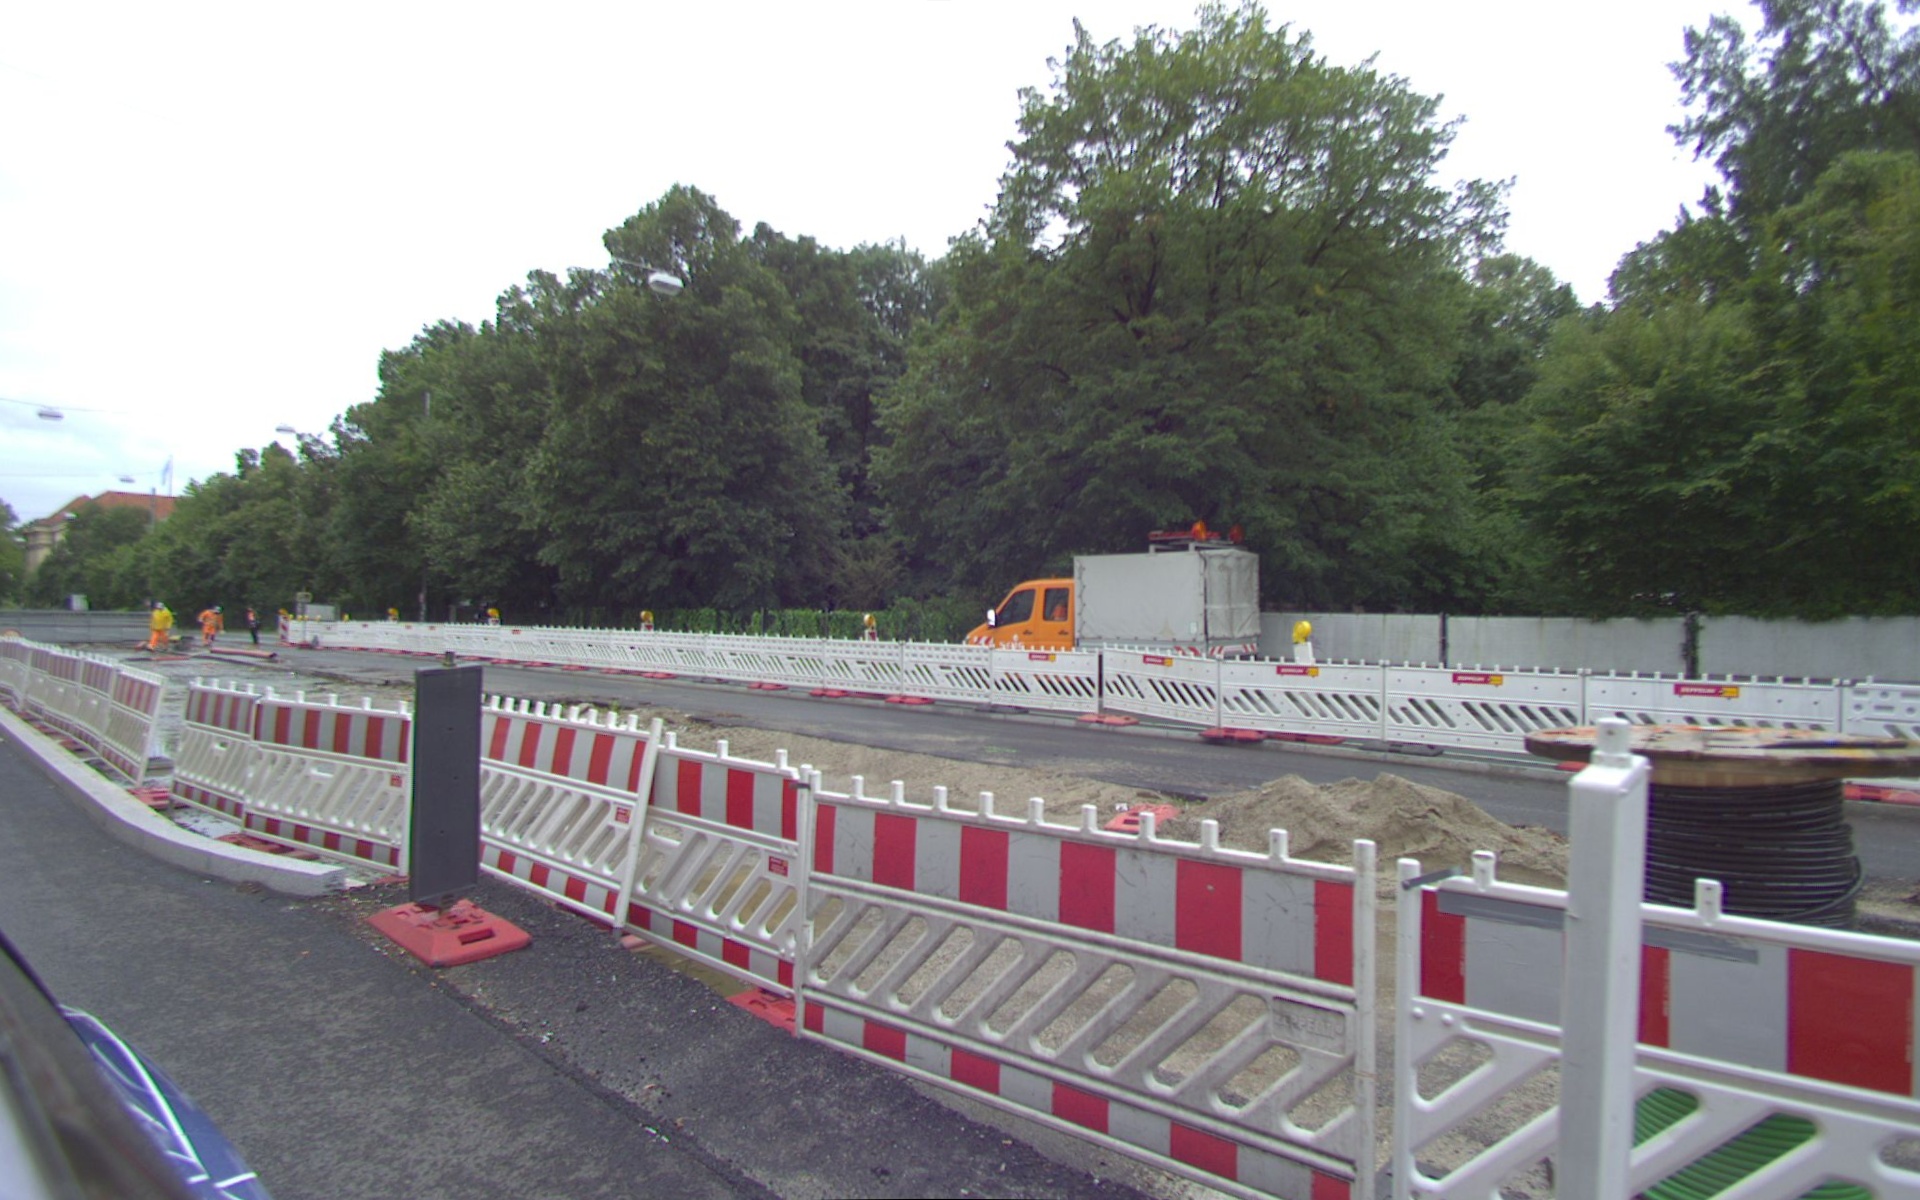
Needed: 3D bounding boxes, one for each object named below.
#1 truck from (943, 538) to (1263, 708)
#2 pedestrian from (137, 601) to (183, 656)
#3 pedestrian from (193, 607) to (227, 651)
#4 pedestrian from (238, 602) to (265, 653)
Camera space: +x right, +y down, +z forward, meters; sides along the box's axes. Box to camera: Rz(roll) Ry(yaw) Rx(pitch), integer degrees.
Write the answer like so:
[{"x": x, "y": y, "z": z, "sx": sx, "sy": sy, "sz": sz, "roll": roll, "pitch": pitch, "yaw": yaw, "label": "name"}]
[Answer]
[{"x": 2.603, "y": 0.439, "z": 19.968, "sx": 6.214, "sy": 2.871, "sz": 2.098, "roll": -1, "pitch": -3, "yaw": 45, "label": "truck"}, {"x": -27.680, "y": 0.987, "z": 35.042, "sx": 0.847, "sy": 1.850, "sz": 0.876, "roll": 1, "pitch": -2, "yaw": -4, "label": "pedestrian"}, {"x": -29.603, "y": 1.132, "z": 39.966, "sx": 0.911, "sy": 1.701, "sz": 0.887, "roll": -1, "pitch": -3, "yaw": 45, "label": "pedestrian"}, {"x": -28.153, "y": 1.083, "z": 40.222, "sx": 0.657, "sy": 1.985, "sz": 0.808, "roll": 2, "pitch": -2, "yaw": -23, "label": "pedestrian"}]
